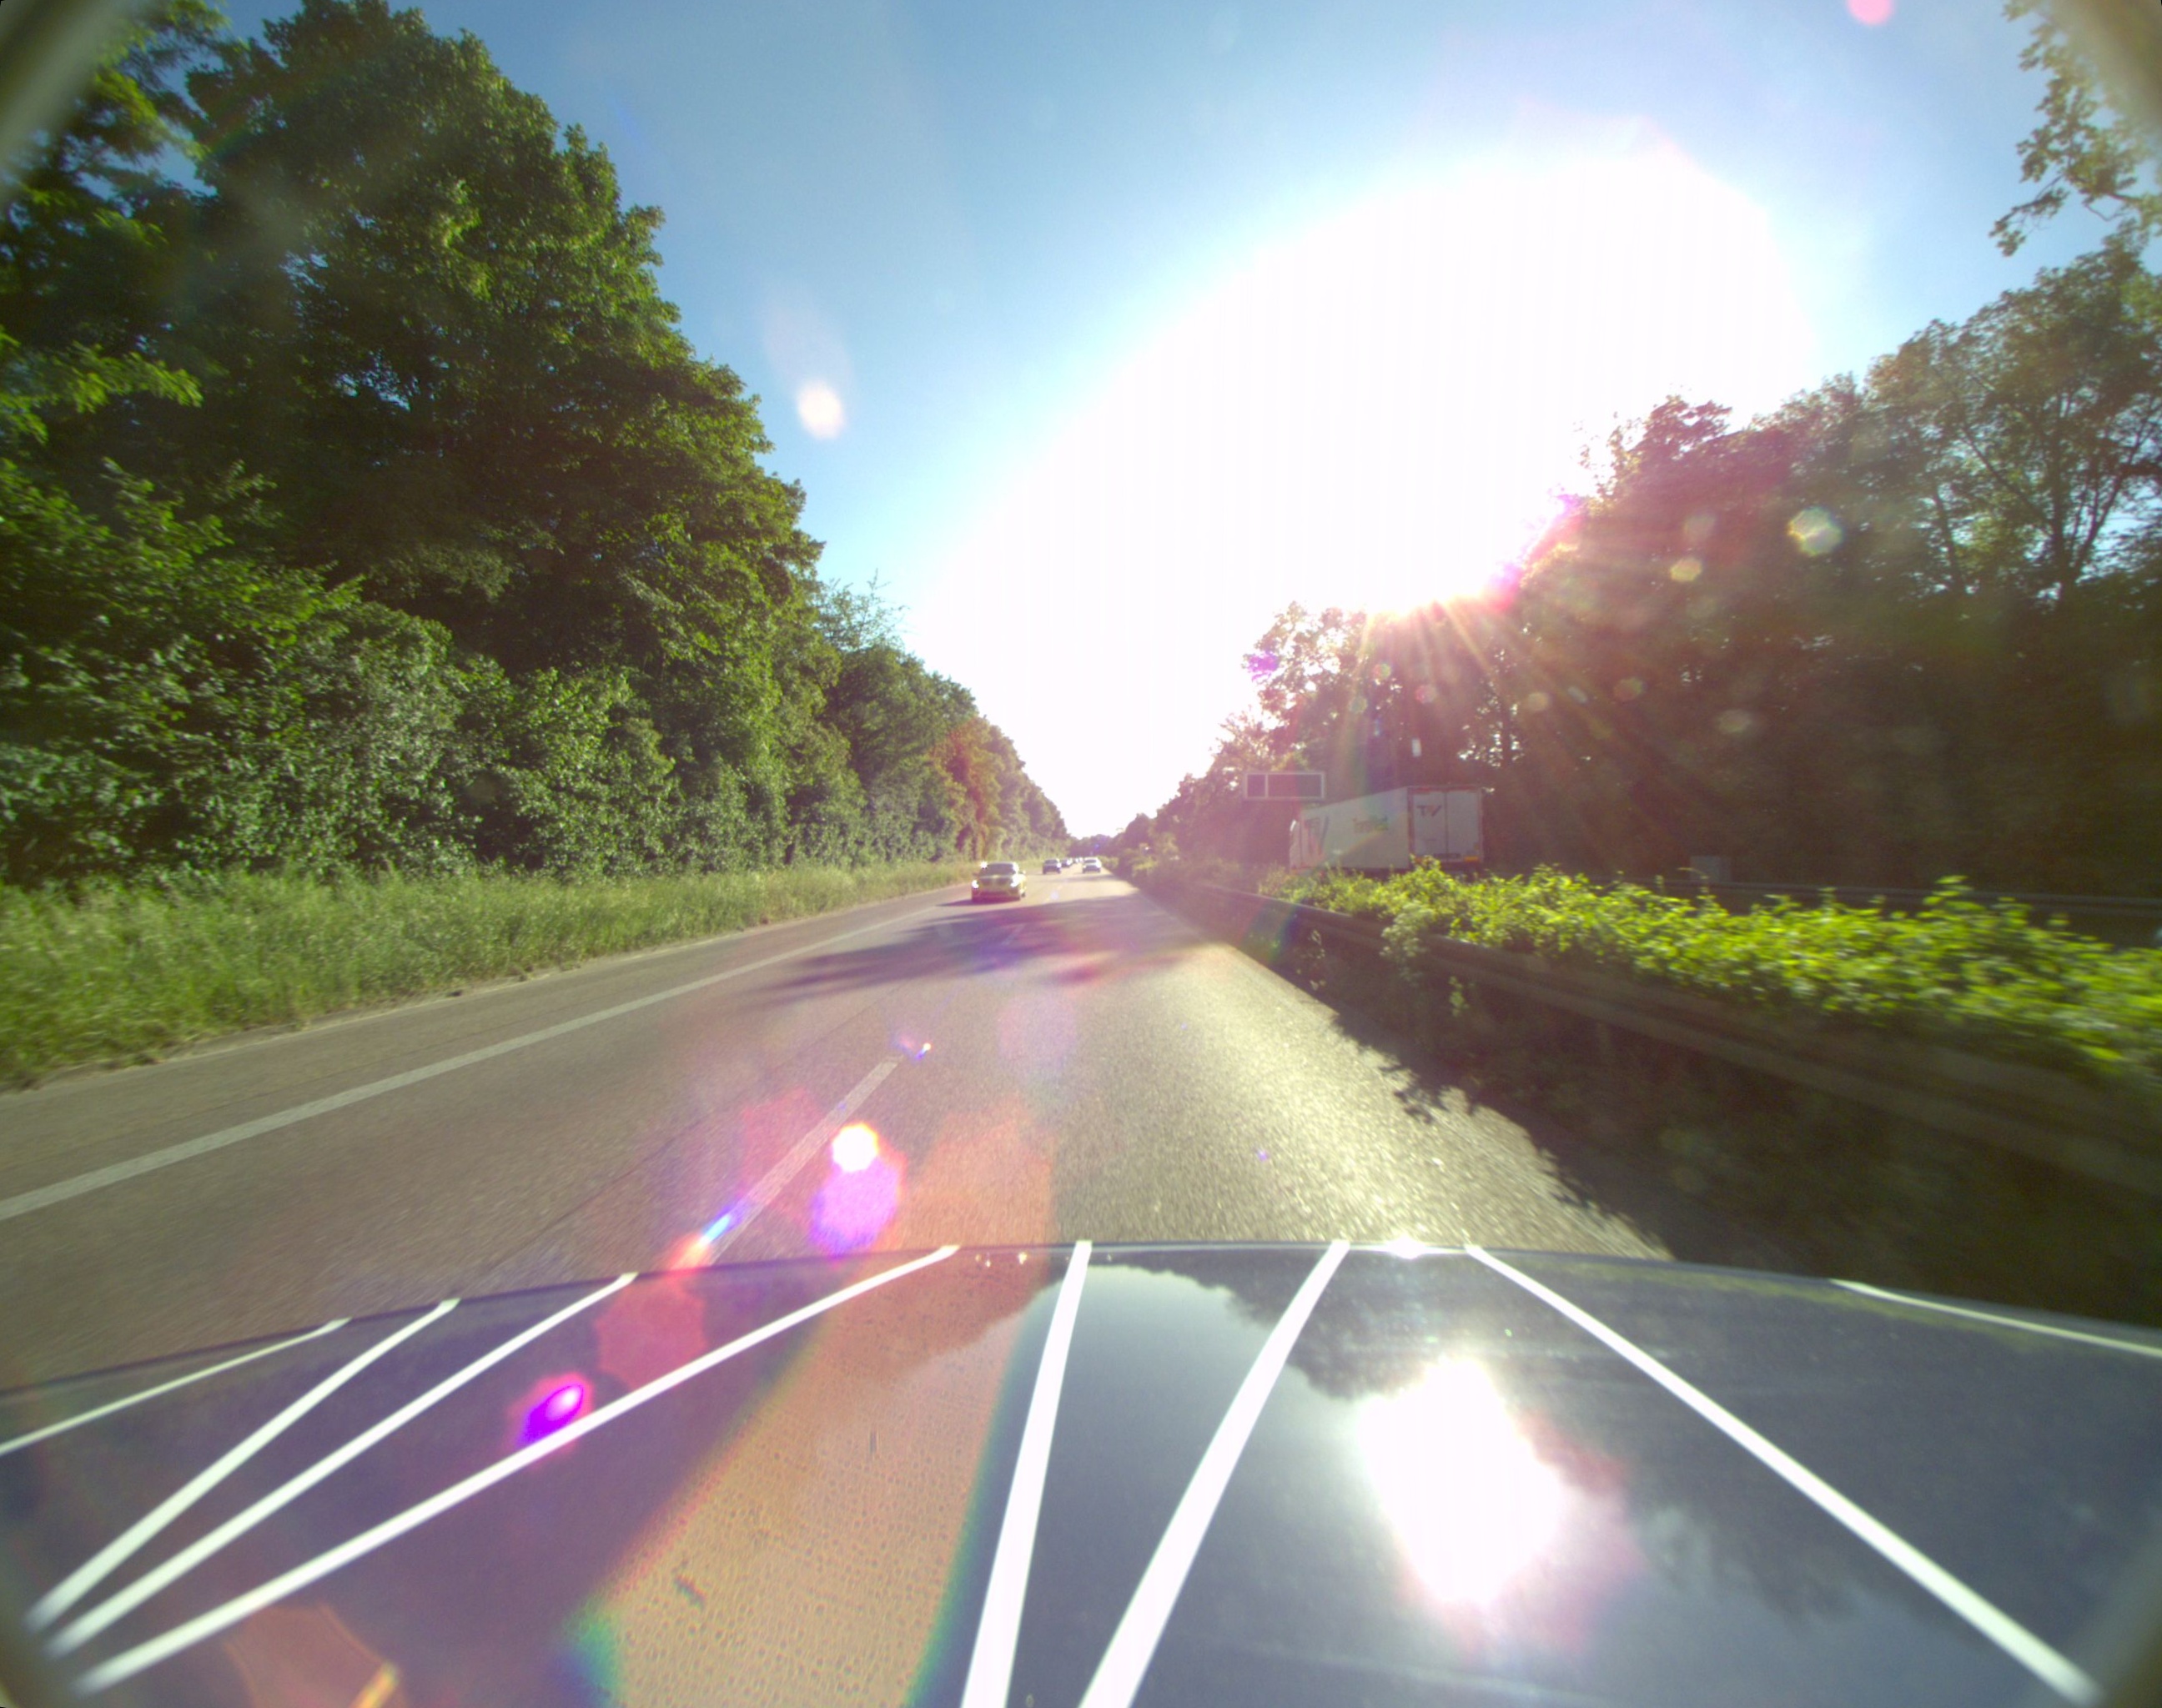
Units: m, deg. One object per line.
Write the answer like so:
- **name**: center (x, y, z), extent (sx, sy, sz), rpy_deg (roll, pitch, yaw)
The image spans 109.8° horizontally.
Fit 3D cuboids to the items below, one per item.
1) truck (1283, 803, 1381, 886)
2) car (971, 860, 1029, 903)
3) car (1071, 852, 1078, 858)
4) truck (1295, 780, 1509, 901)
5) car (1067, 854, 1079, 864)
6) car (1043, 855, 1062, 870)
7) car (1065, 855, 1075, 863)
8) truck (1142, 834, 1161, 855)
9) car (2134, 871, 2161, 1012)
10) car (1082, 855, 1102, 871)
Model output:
- **truck**: center (13.101, -0.476, 40.200), extent (3.236, 3.989, 5.676), rpy_deg (-2, 0, 1)
- **car**: center (-3.096, 1.022, 29.639), extent (1.794, 1.440, 3.877), rpy_deg (-2, 0, 0)
- **car**: center (-1.697, 0.298, 198.375), extent (1.794, 1.440, 3.877), rpy_deg (-2, 0, 0)
- **truck**: center (13.008, -0.464, 33.160), extent (3.251, 3.989, 14.450), rpy_deg (-2, 0, 1)
- **car**: center (-1.316, 0.823, 120.834), extent (1.794, 1.440, 3.877), rpy_deg (-2, 0, 0)
- **car**: center (-2.878, 0.838, 77.584), extent (1.794, 1.440, 3.877), rpy_deg (-2, 0, 0)
- **car**: center (-2.199, 0.921, 148.322), extent (1.794, 1.440, 3.877), rpy_deg (-2, 0, 0)
- **truck**: center (14.151, -1.956, 152.453), extent (2.776, 3.932, 11.466), rpy_deg (-2, 1, 1)
- **car**: center (12.189, 0.913, 6.270), extent (1.768, 1.464, 3.792), rpy_deg (-2, 1, 1)
- **car**: center (1.086, 0.840, 74.060), extent (1.890, 1.440, 3.878), rpy_deg (-2, 0, 1)
